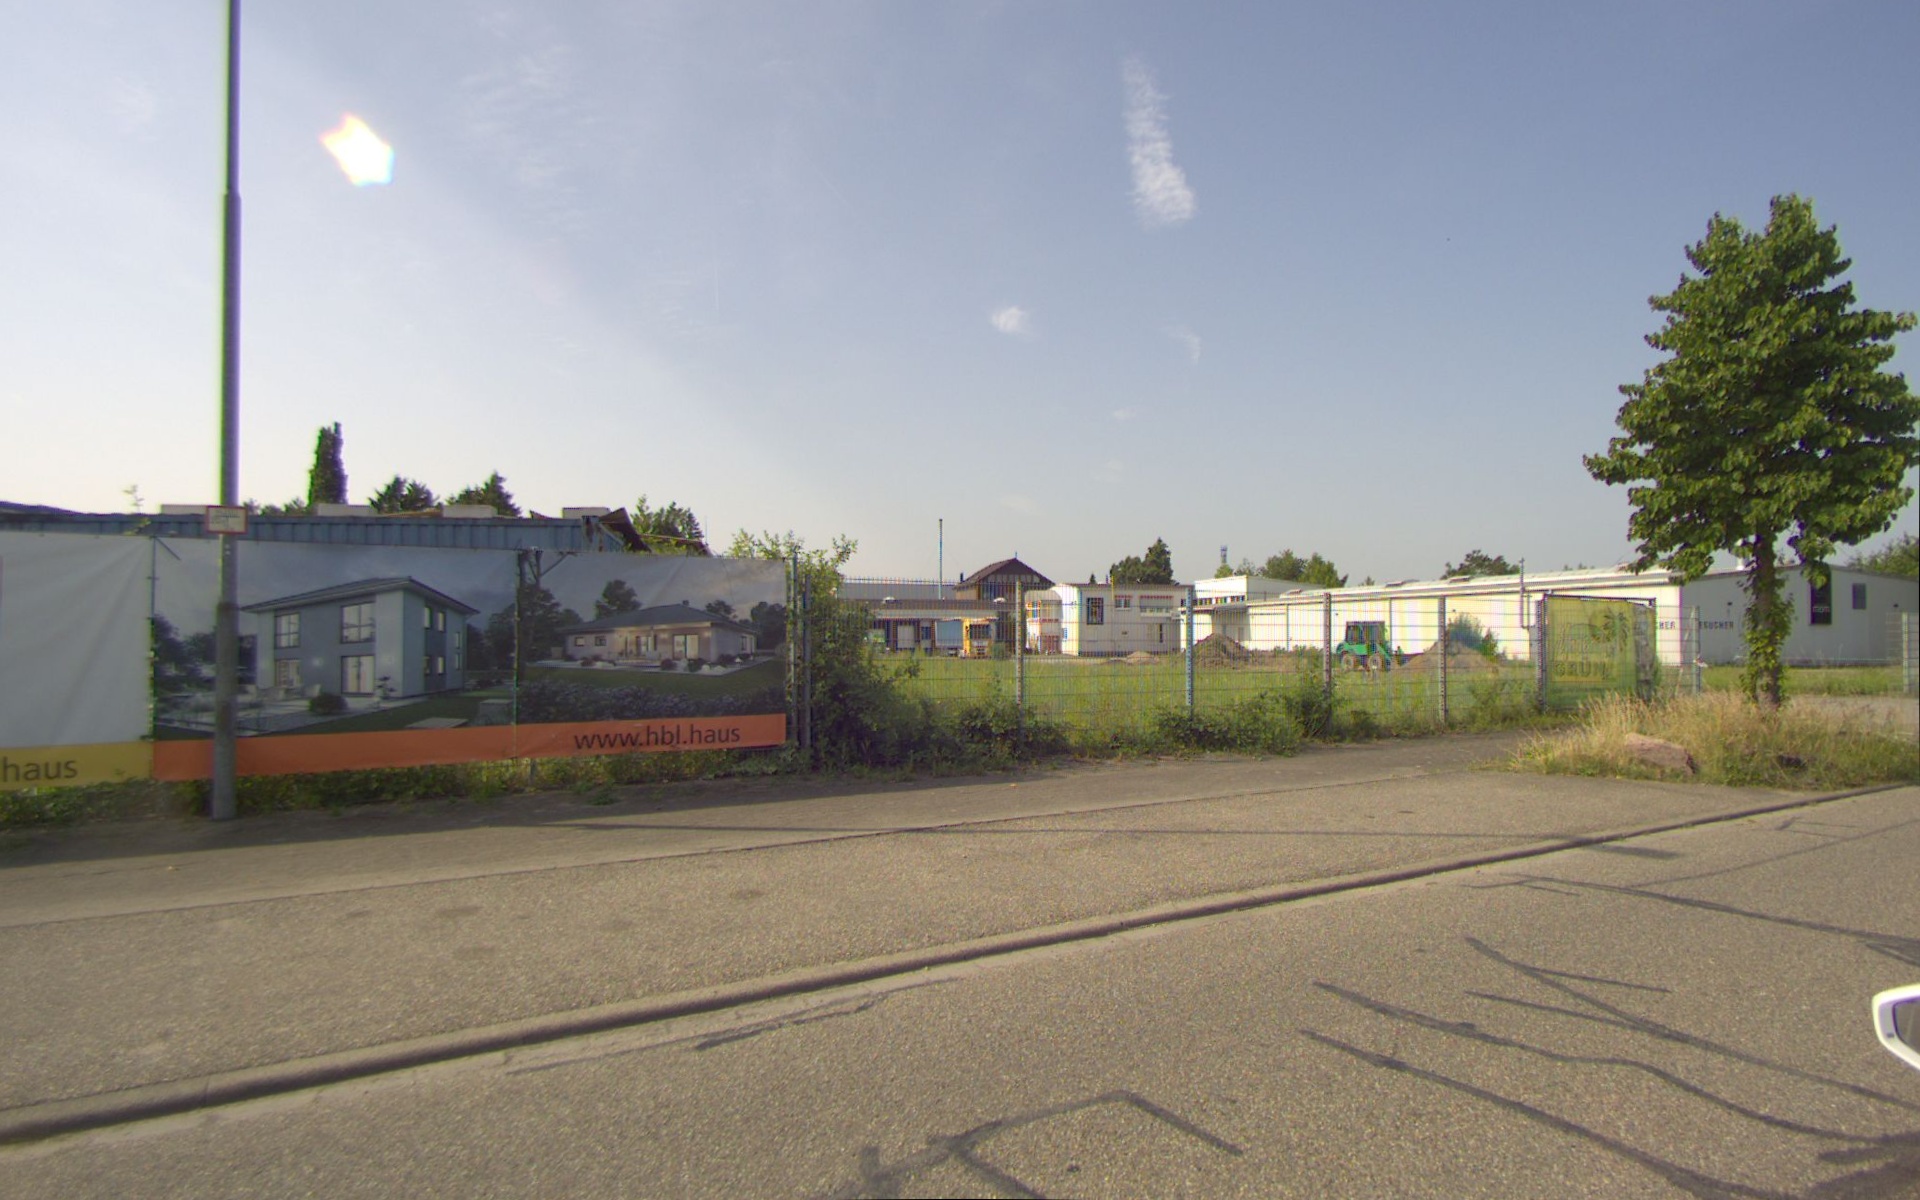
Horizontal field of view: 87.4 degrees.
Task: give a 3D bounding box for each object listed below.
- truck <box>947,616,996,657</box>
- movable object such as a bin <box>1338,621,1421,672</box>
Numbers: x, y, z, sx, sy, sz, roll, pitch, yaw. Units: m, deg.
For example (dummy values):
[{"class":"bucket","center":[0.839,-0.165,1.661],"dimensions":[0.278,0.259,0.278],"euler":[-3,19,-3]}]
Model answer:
[{"class":"truck","center":[1.048,3.672,100.327],"dimensions":[2.852,3.937,7.564],"euler":[0,-2,-16]},{"class":"movable object such as a bin","center":[21.458,2.368,51.612],"dimensions":[2.209,2.488,4.305],"euler":[0,-2,-4]}]
